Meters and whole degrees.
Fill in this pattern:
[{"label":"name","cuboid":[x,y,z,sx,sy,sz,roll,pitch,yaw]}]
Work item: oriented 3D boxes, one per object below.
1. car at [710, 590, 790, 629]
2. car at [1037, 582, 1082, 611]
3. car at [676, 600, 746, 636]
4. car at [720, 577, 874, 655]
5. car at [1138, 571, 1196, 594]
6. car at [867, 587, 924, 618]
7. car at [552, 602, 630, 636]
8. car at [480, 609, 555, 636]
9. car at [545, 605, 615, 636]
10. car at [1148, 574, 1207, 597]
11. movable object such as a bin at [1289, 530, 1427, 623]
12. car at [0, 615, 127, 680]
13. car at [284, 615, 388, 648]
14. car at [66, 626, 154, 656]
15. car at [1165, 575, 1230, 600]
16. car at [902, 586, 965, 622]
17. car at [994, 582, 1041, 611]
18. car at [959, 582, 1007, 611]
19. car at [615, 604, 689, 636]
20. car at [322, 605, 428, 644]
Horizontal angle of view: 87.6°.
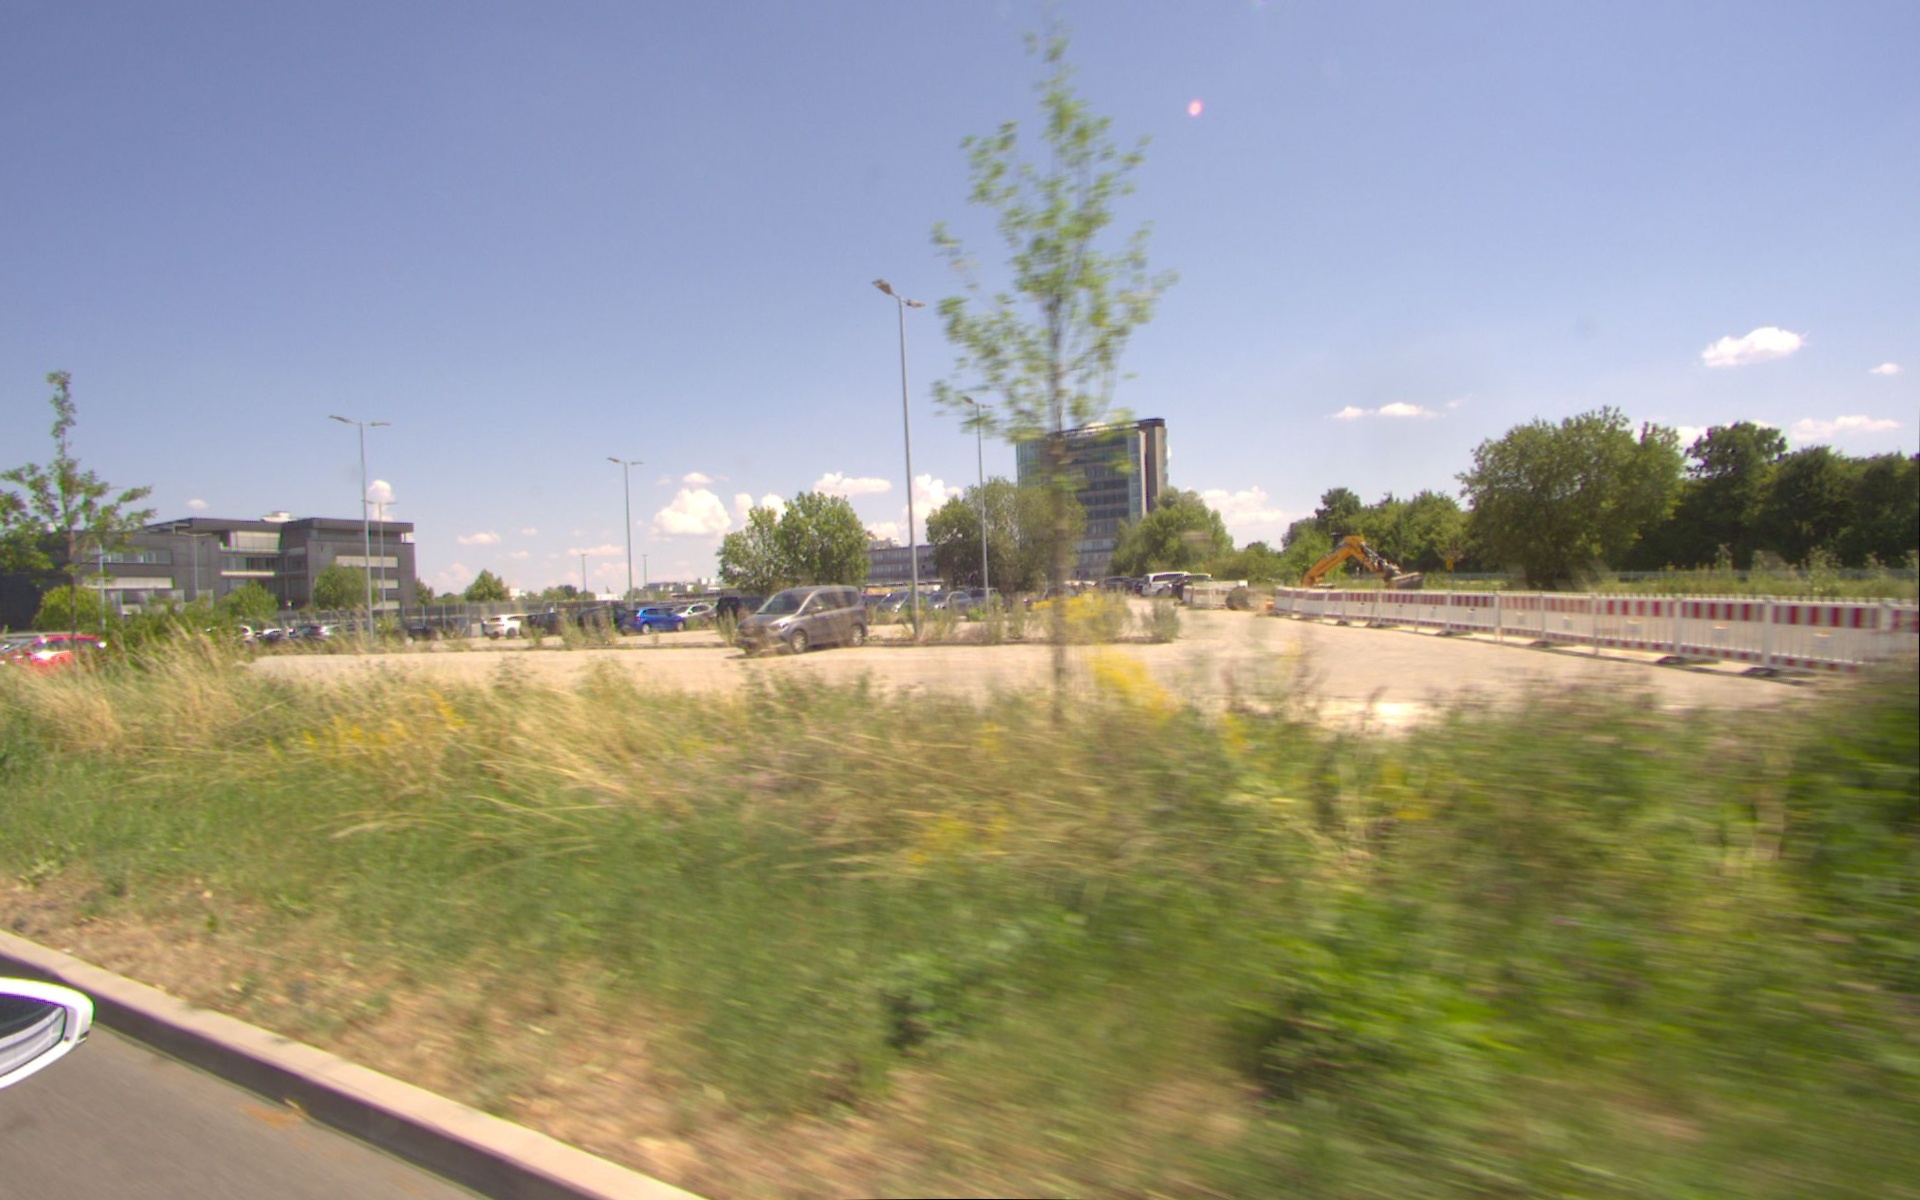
[{"label":"car","cuboid":[-10.550,0.454,50.544,1.731,1.782,3.981,-1,2,28]},{"label":"car","cuboid":[6.158,-0.240,61.644,1.964,1.663,3.990,1,3,18]},{"label":"car","cuboid":[-14.933,1.028,60.140,1.968,1.908,3.983,1,3,26]},{"label":"car","cuboid":[-4.493,0.384,28.267,1.910,1.941,4.455,-1,2,29]},{"label":"car","cuboid":[15.810,-1.335,76.549,3.922,1.550,1.875,-3,1,-2]},{"label":"car","cuboid":[-3.435,0.097,53.807,1.690,1.440,3.990,1,3,18]},{"label":"car","cuboid":[-20.361,1.010,55.379,1.964,1.663,3.990,1,3,18]},{"label":"car","cuboid":[-26.724,1.341,60.557,1.670,1.359,3.984,-3,0,26]},{"label":"car","cuboid":[-23.567,1.250,62.266,1.964,1.663,3.990,1,3,18]},{"label":"car","cuboid":[16.087,-1.071,74.142,3.922,1.550,1.875,-3,1,-2]},{"label":"movable object such as a bin","cuboid":[19.018,-1.207,48.565,2.930,4.101,8.097,0,3,-4]},{"label":"car","cuboid":[-27.645,1.419,29.763,1.899,1.746,3.979,-3,0,30]},{"label":"car","cuboid":[-31.559,1.589,50.752,1.899,1.414,3.979,-3,0,30]},{"label":"car","cuboid":[-55.664,2.631,65.657,1.831,1.618,3.982,1,3,27]},{"label":"car","cuboid":[16.217,-0.856,68.422,3.922,1.550,1.875,-3,1,-2]},{"label":"car","cuboid":[-1.303,0.151,51.231,1.964,1.663,3.990,1,3,18]},{"label":"car","cuboid":[3.591,-0.244,61.866,1.964,1.663,3.990,1,3,18]},{"label":"car","cuboid":[1.485,-0.269,63.399,1.964,1.663,3.990,1,3,18]},{"label":"car","cuboid":[-16.683,1.033,54.388,1.706,1.485,3.793,1,3,26]},{"label":"car","cuboid":[-28.516,1.159,48.941,1.899,1.663,3.979,-3,0,30]}]
